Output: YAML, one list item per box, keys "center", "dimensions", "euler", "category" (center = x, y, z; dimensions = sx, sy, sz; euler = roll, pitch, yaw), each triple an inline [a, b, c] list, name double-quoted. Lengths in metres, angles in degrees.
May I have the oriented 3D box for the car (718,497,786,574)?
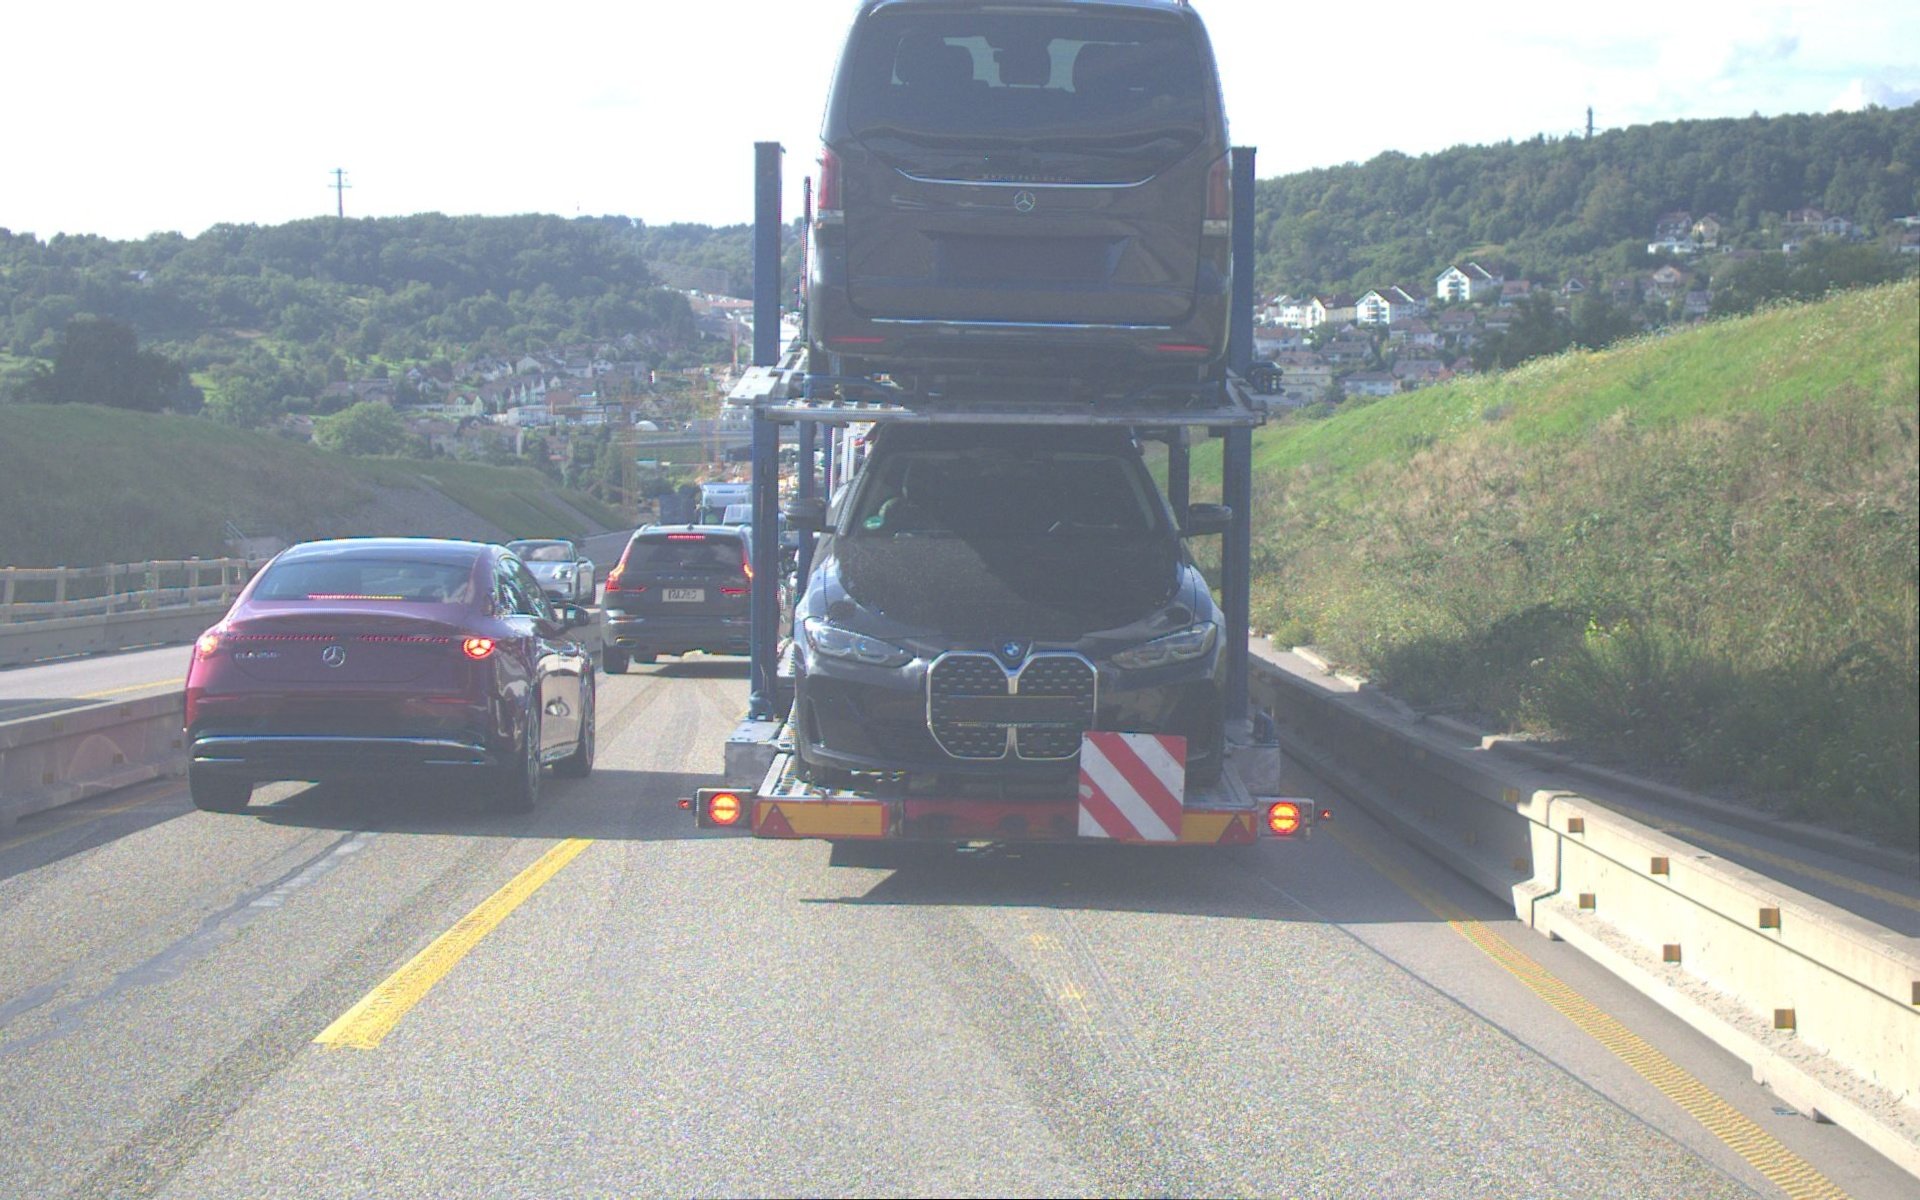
- center: [-8.109, -2.517, 134.595]
  dimensions: [2.110, 2.826, 6.139]
  euler: [-3, 1, 0]
  category: "car"

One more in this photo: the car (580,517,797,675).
- center: [-2.973, -0.101, 38.590]
  dimensions: [1.993, 1.619, 4.750]
  euler: [1, 1, 1]
  category: "car"

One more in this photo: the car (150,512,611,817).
- center: [-3.159, 0.267, 19.655]
  dimensions: [1.823, 1.487, 4.685]
  euler: [1, 2, 0]
  category: "car"

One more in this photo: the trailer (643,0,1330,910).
- center: [0.159, -0.903, 19.275]
  dimensions: [2.708, 4.015, 11.420]
  euler: [0, 1, 1]
  category: "trailer"

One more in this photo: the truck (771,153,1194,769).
- center: [0.190, -0.946, 24.874]
  dimensions: [2.678, 3.908, 6.027]
  euler: [0, 1, 1]
  category: "truck"

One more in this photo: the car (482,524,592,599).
- center: [-8.728, -0.812, 71.285]
  dimensions: [1.734, 1.420, 4.628]
  euler: [-3, 1, -1]
  category: "car"

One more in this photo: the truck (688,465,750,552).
- center: [-11.700, -4.433, 167.499]
  dimensions: [2.614, 4.139, 5.781]
  euler: [0, 1, 0]
  category: "truck"

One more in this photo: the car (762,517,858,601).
- center: [-2.916, -0.835, 67.549]
  dimensions: [1.796, 1.591, 4.743]
  euler: [0, 1, -2]
  category: "car"
